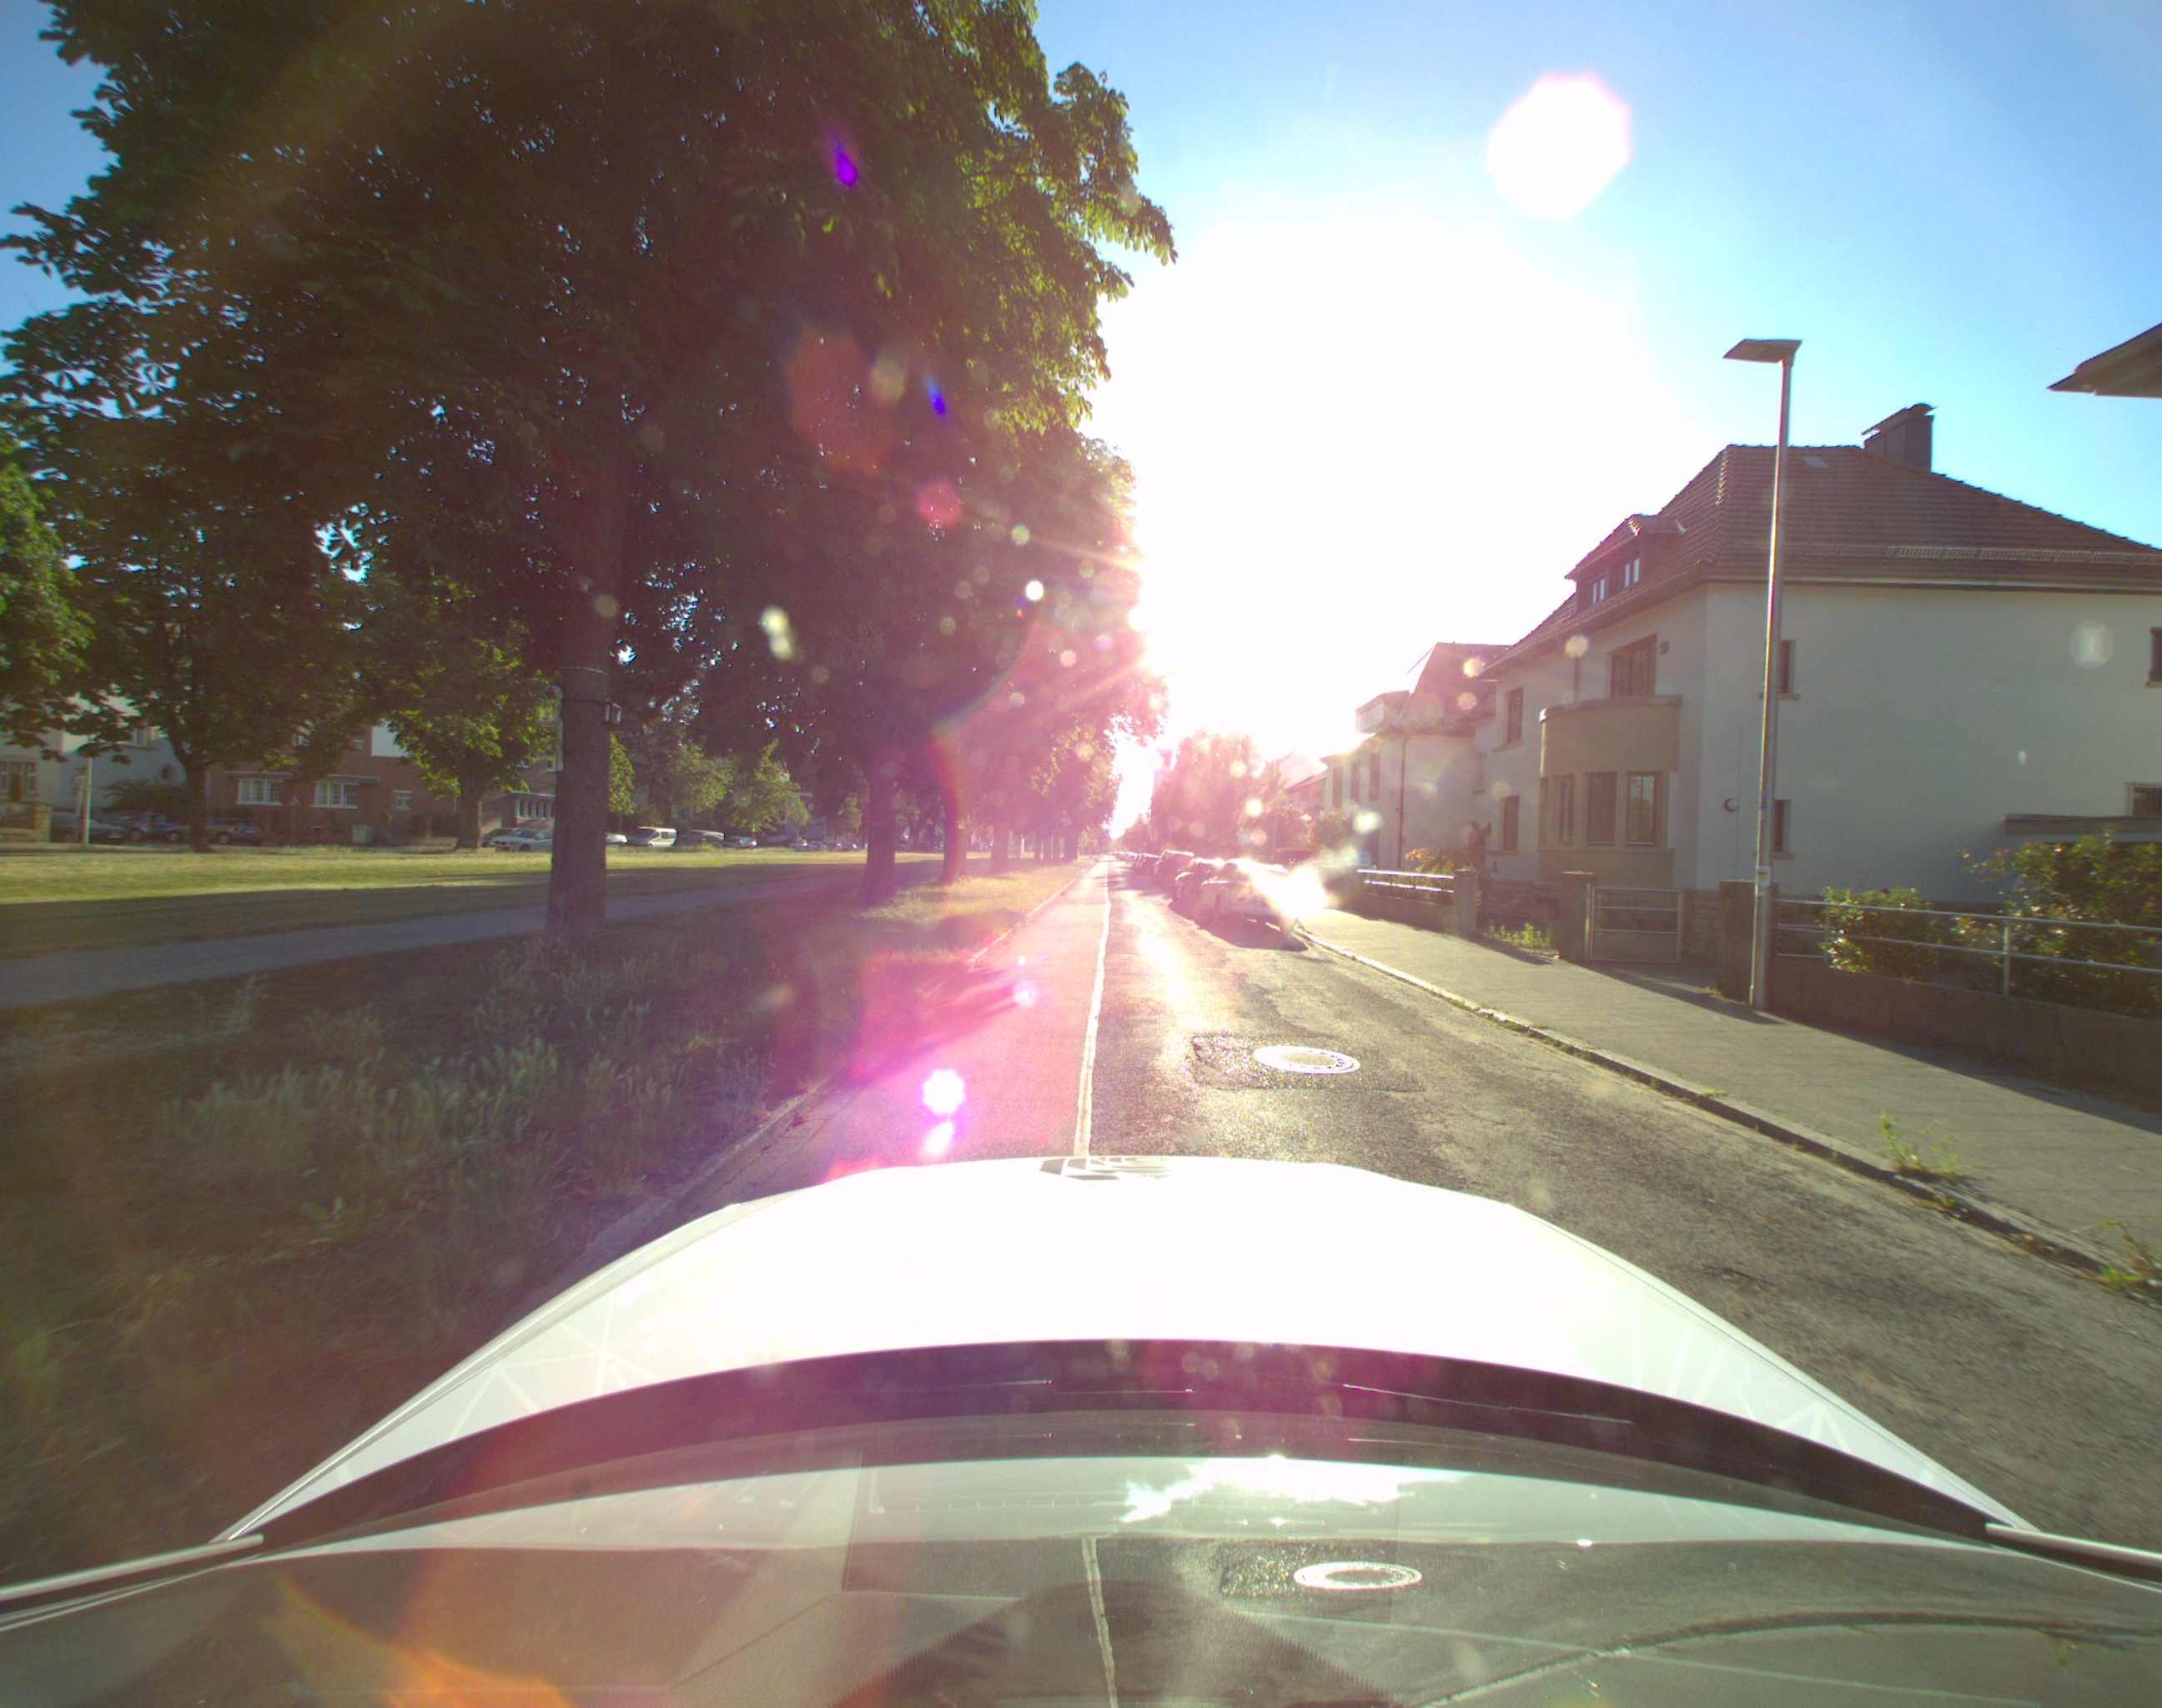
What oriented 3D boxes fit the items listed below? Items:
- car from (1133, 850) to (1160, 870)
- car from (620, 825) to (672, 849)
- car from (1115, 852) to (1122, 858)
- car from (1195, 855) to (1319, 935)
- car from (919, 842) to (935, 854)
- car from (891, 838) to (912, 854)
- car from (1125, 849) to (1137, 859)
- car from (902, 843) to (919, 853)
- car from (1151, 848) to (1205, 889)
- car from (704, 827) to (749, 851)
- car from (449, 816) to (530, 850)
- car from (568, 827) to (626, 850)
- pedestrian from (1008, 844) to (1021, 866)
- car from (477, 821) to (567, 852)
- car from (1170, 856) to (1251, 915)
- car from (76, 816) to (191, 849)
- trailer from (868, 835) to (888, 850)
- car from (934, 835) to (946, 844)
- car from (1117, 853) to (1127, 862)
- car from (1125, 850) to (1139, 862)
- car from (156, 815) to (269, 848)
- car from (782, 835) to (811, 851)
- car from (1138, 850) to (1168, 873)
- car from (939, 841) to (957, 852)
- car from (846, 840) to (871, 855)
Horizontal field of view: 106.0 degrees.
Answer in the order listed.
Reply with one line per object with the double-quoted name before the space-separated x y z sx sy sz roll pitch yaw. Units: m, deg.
"car" 5.558 0.517 69.273 1.687 1.483 3.926 6 0 -2
"car" -36.904 -1.399 69.177 1.809 1.837 4.411 3 0 2
"car" 10.865 0.409 236.692 1.972 1.683 4.003 2 0 3
"car" 4.014 0.859 19.365 1.986 1.464 4.552 3 1 1
"car" -28.243 -1.074 149.572 1.678 2.175 4.318 3 1 3
"car" -34.203 -1.564 155.515 2.428 2.922 5.820 0 -1 2
"car" 8.254 0.021 134.806 1.752 1.605 4.359 2 0 1
"car" -29.190 -0.965 139.254 1.678 1.559 4.317 2 0 3
"car" 4.558 0.644 39.001 1.987 1.737 4.864 3 0 1
"car" -31.479 -1.293 72.416 1.986 2.013 4.002 3 0 2
"car" -37.328 -1.279 51.557 1.750 2.013 4.371 2 0 2
"car" -37.681 -1.176 63.533 1.750 1.623 4.308 3 0 2
"pedestrian" -5.335 0.083 65.530 0.720 1.758 0.995 2 0 8
"car" -32.110 -0.961 46.998 1.812 1.639 4.652 2 0 2
"car" 3.854 0.873 25.013 1.773 1.463 4.595 5 0 2
"car" -50.044 -1.109 43.082 3.883 1.574 1.836 2 0 1
"trailer" -34.594 -1.929 138.959 1.986 2.428 4.727 2 0 2
"car" -33.497 -3.373 193.098 1.986 2.014 4.485 0 -1 1
"car" 7.746 0.605 155.263 1.752 1.605 4.359 2 0 1
"car" 6.948 0.263 111.454 1.750 1.419 4.074 8 0 2
"car" -45.802 -1.169 42.986 3.971 1.486 1.866 3 0 2
"car" -35.855 -1.378 102.760 2.023 2.014 4.003 0 -1 3
"car" 5.158 0.521 58.732 1.787 1.492 4.675 3 0 1
"car" -27.391 -1.538 168.464 2.524 2.236 5.462 2 1 2
"car" -30.167 -0.863 110.615 1.985 1.860 4.259 3 0 3
